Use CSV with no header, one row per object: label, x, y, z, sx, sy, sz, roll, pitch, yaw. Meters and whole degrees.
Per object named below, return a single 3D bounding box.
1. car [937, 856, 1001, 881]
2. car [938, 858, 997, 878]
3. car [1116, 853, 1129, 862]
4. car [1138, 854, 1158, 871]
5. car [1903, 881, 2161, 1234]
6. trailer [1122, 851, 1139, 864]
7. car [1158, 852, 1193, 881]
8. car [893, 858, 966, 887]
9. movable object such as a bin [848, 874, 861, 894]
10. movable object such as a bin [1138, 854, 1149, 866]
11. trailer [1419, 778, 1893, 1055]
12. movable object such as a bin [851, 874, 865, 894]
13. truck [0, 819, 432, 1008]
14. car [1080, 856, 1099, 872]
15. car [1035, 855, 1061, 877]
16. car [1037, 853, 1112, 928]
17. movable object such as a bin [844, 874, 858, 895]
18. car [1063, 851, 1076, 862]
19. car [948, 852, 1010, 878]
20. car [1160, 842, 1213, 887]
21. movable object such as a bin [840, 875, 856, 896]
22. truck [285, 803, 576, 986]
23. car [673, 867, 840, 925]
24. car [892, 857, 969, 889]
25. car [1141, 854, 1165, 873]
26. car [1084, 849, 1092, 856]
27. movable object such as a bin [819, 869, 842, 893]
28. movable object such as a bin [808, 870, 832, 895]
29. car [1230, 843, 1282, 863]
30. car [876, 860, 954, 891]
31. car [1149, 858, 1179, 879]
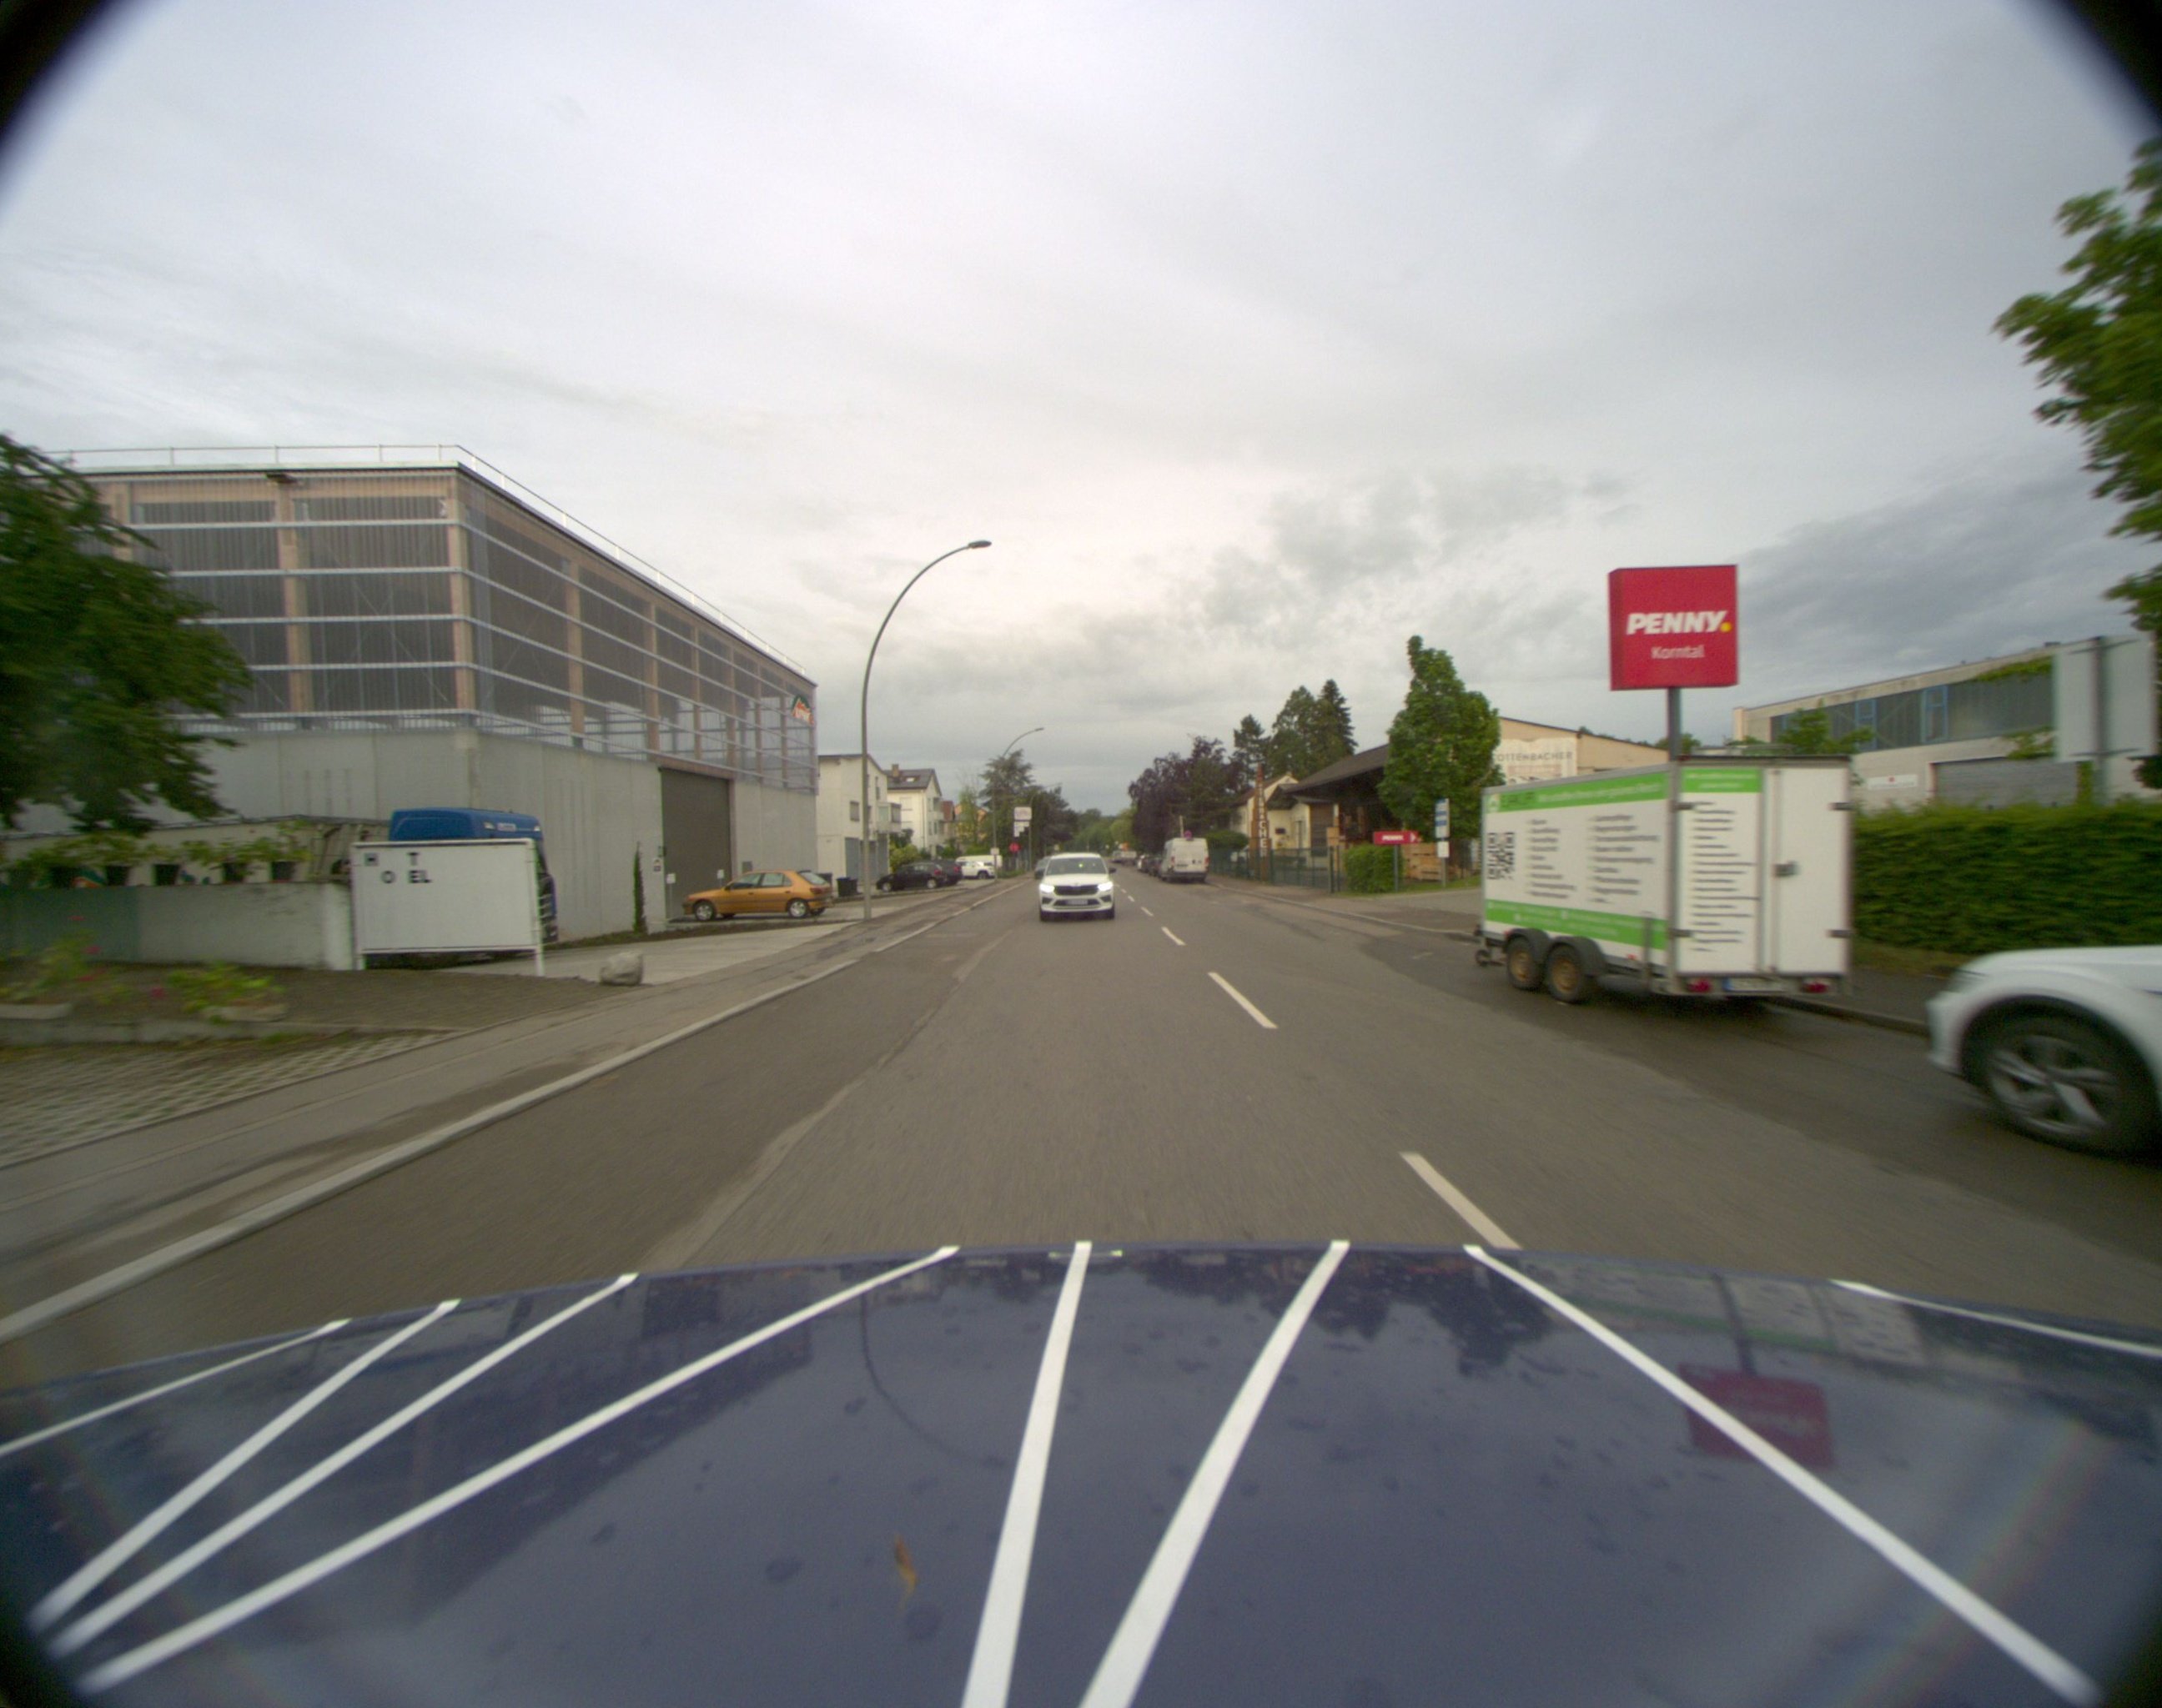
car,-8.429,1.062,57.396,4.457,1.615,1.893,-3,1,0
car,-8.964,1.093,60.247,4.331,1.371,1.850,-3,1,0
car,6.744,0.577,123.520,1.821,1.419,4.980,0,1,1
car,6.242,0.774,71.166,1.620,1.500,3.660,0,1,1
car,5.653,0.899,2.319,1.777,1.490,4.137,-2,-1,0
trailer,6.681,0.460,102.842,1.934,1.755,4.548,-2,0,1
car,6.183,0.758,50.347,1.774,1.758,4.446,2,1,1
car,-9.753,1.170,49.218,4.254,1.527,1.811,-3,1,0
movable object such as a bin,-12.507,1.656,42.003,0.496,1.049,0.552,-3,1,2
movable object such as a bin,7.199,0.707,87.507,1.103,1.303,1.425,-3,1,0
trailer,5.855,0.527,8.717,1.817,2.300,4.730,1,0,0
movable object such as a bin,-12.488,1.667,42.548,0.518,1.049,0.505,-3,1,2
truck,-20.835,1.308,17.784,8.557,3.686,2.721,-3,1,-2
car,0.804,0.949,75.658,1.743,1.458,3.838,-3,1,-1
car,-2.442,0.890,57.592,1.743,1.458,4.545,-3,1,-1
car,-0.209,0.865,20.037,1.692,1.651,3.999,-3,1,-2
movable object such as a bin,-12.527,1.662,41.422,0.514,1.049,0.543,-3,1,2
car,-1.965,0.424,130.729,1.736,1.817,5.553,-4,0,2
car,-8.382,0.884,62.667,4.743,1.875,2.000,-3,1,0
car,6.086,0.578,44.628,2.163,2.413,6.459,1,0,0
movable object such as a bin,-12.498,1.678,40.817,0.575,1.049,0.644,-3,1,2
truck,-15.078,0.865,17.939,4.155,3.652,2.719,-5,1,-2
car,-9.139,1.165,21.610,3.997,1.422,1.630,-2,0,-1
car,-9.152,1.126,46.550,4.237,1.665,1.980,-3,1,0
car,6.182,0.831,65.914,1.665,1.575,3.915,0,1,0
car,1.737,-0.457,193.565,1.898,1.678,4.230,0,1,1
movable object such as a bin,-14.898,1.615,45.263,0.840,1.332,1.330,-3,1,2
movable object such as a bin,-14.934,1.632,43.539,0.840,1.332,1.285,-3,1,2
car,18.668,-0.147,81.131,5.010,1.846,2.000,-3,1,2
car,-9.564,1.221,44.003,3.976,1.481,1.833,-3,0,2
car,6.140,1.069,56.793,1.665,1.440,4.316,0,1,-1
